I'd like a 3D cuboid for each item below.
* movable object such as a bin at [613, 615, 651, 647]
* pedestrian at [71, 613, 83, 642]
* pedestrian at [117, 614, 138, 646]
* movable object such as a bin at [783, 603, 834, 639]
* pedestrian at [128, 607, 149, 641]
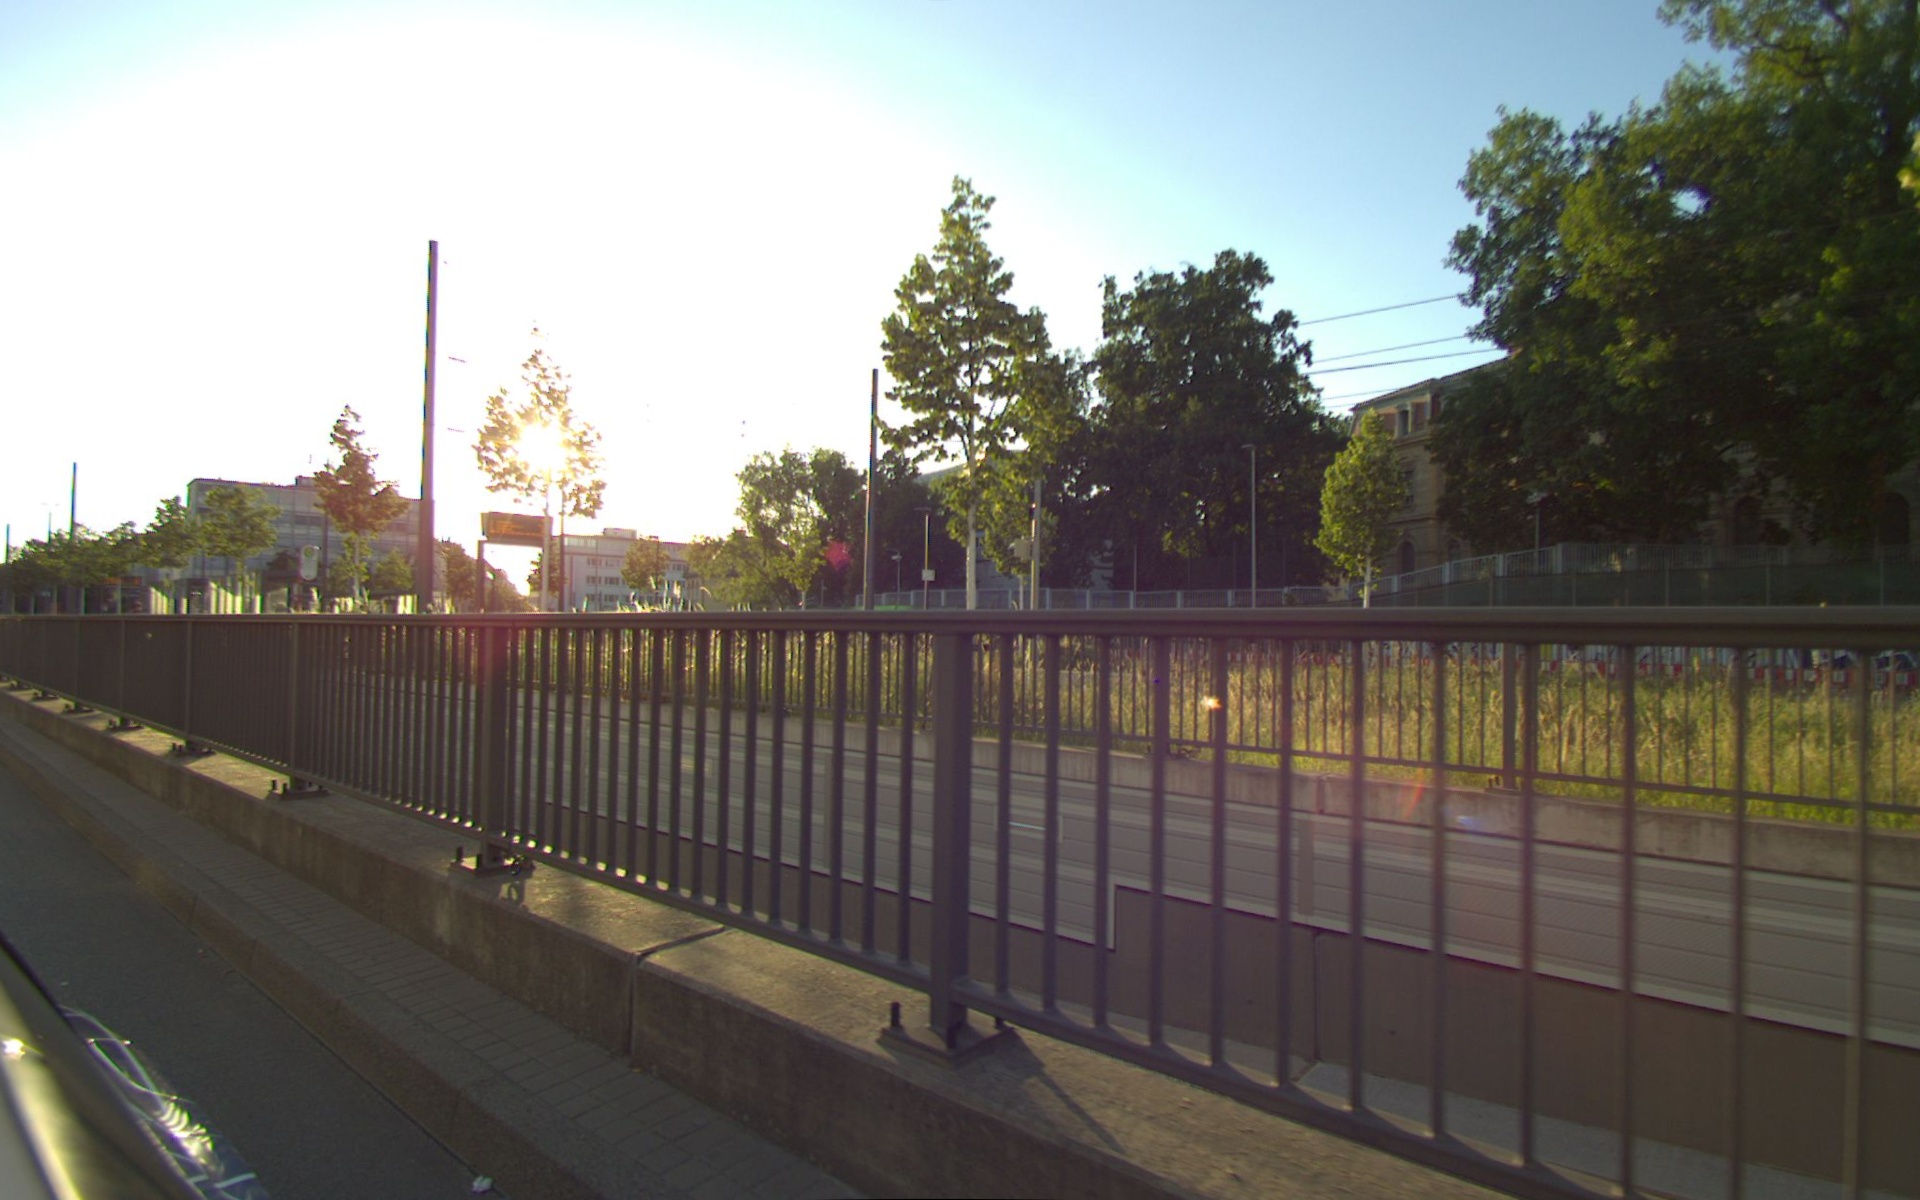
[{"bbox_3d":[-28.668,2.670,88.445,1.967,2.727,4.010,1,-2,-35],"label":"movable object such as a bin"},{"bbox_3d":[-53.978,1.676,61.862,0.465,1.800,0.627,2,-2,-41],"label":"pedestrian"},{"bbox_3d":[-45.790,1.635,55.648,0.634,1.758,0.719,-2,-2,34],"label":"pedestrian"},{"bbox_3d":[-11.925,1.666,79.558,4.001,2.727,1.971,-1,-2,44],"label":"movable object such as a bin"},{"bbox_3d":[-42.023,1.227,51.758,0.633,1.742,0.630,-1,-2,29],"label":"pedestrian"}]
